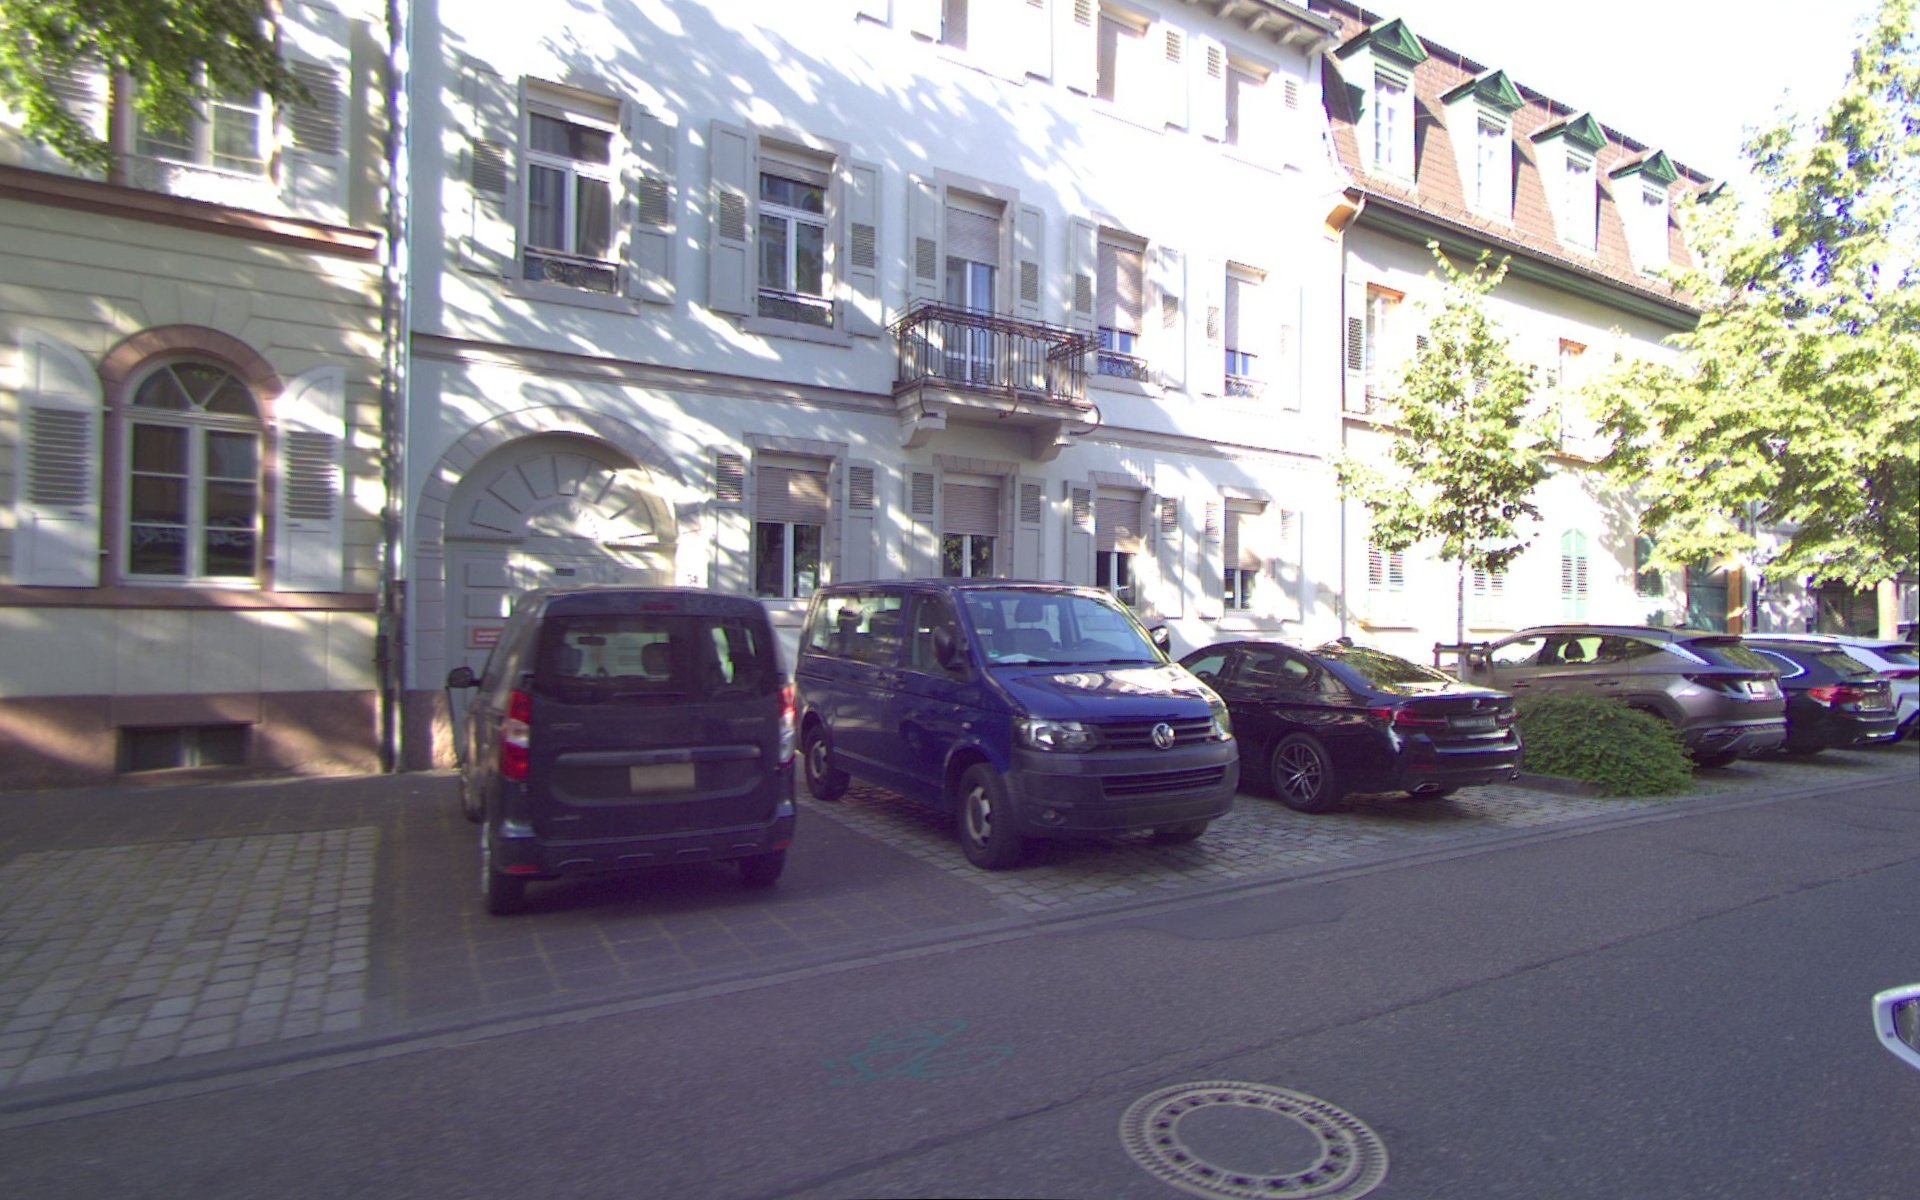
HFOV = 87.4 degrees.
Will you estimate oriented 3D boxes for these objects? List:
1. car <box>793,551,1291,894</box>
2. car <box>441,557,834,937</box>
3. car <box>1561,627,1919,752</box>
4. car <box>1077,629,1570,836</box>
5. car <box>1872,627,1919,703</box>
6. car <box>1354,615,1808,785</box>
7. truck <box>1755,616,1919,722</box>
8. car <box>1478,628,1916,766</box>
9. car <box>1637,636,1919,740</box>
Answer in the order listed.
[{"bbox_3d":[0.290,0.759,8.323,1.893,1.976,4.661,1,-1,-28],"label":"car"},{"bbox_3d":[-2.599,0.746,7.182,1.893,1.795,4.448,1,-1,-28],"label":"car"},{"bbox_3d":[12.255,1.260,15.721,1.786,1.593,4.661,1,-1,-28],"label":"car"},{"bbox_3d":[3.210,1.068,9.926,1.664,1.478,4.624,2,-1,-30],"label":"car"},{"bbox_3d":[23.195,1.471,21.871,1.786,1.715,4.661,1,-1,-28],"label":"car"},{"bbox_3d":[7.521,1.075,12.756,1.786,1.735,4.661,1,-1,-28],"label":"car"},{"bbox_3d":[18.694,1.306,19.241,1.977,1.963,5.061,1,-2,-30],"label":"truck"},{"bbox_3d":[9.970,1.196,14.073,1.786,1.539,4.661,2,-1,-28],"label":"car"},{"bbox_3d":[14.455,1.405,17.049,1.786,1.482,4.661,2,-1,-28],"label":"car"}]
